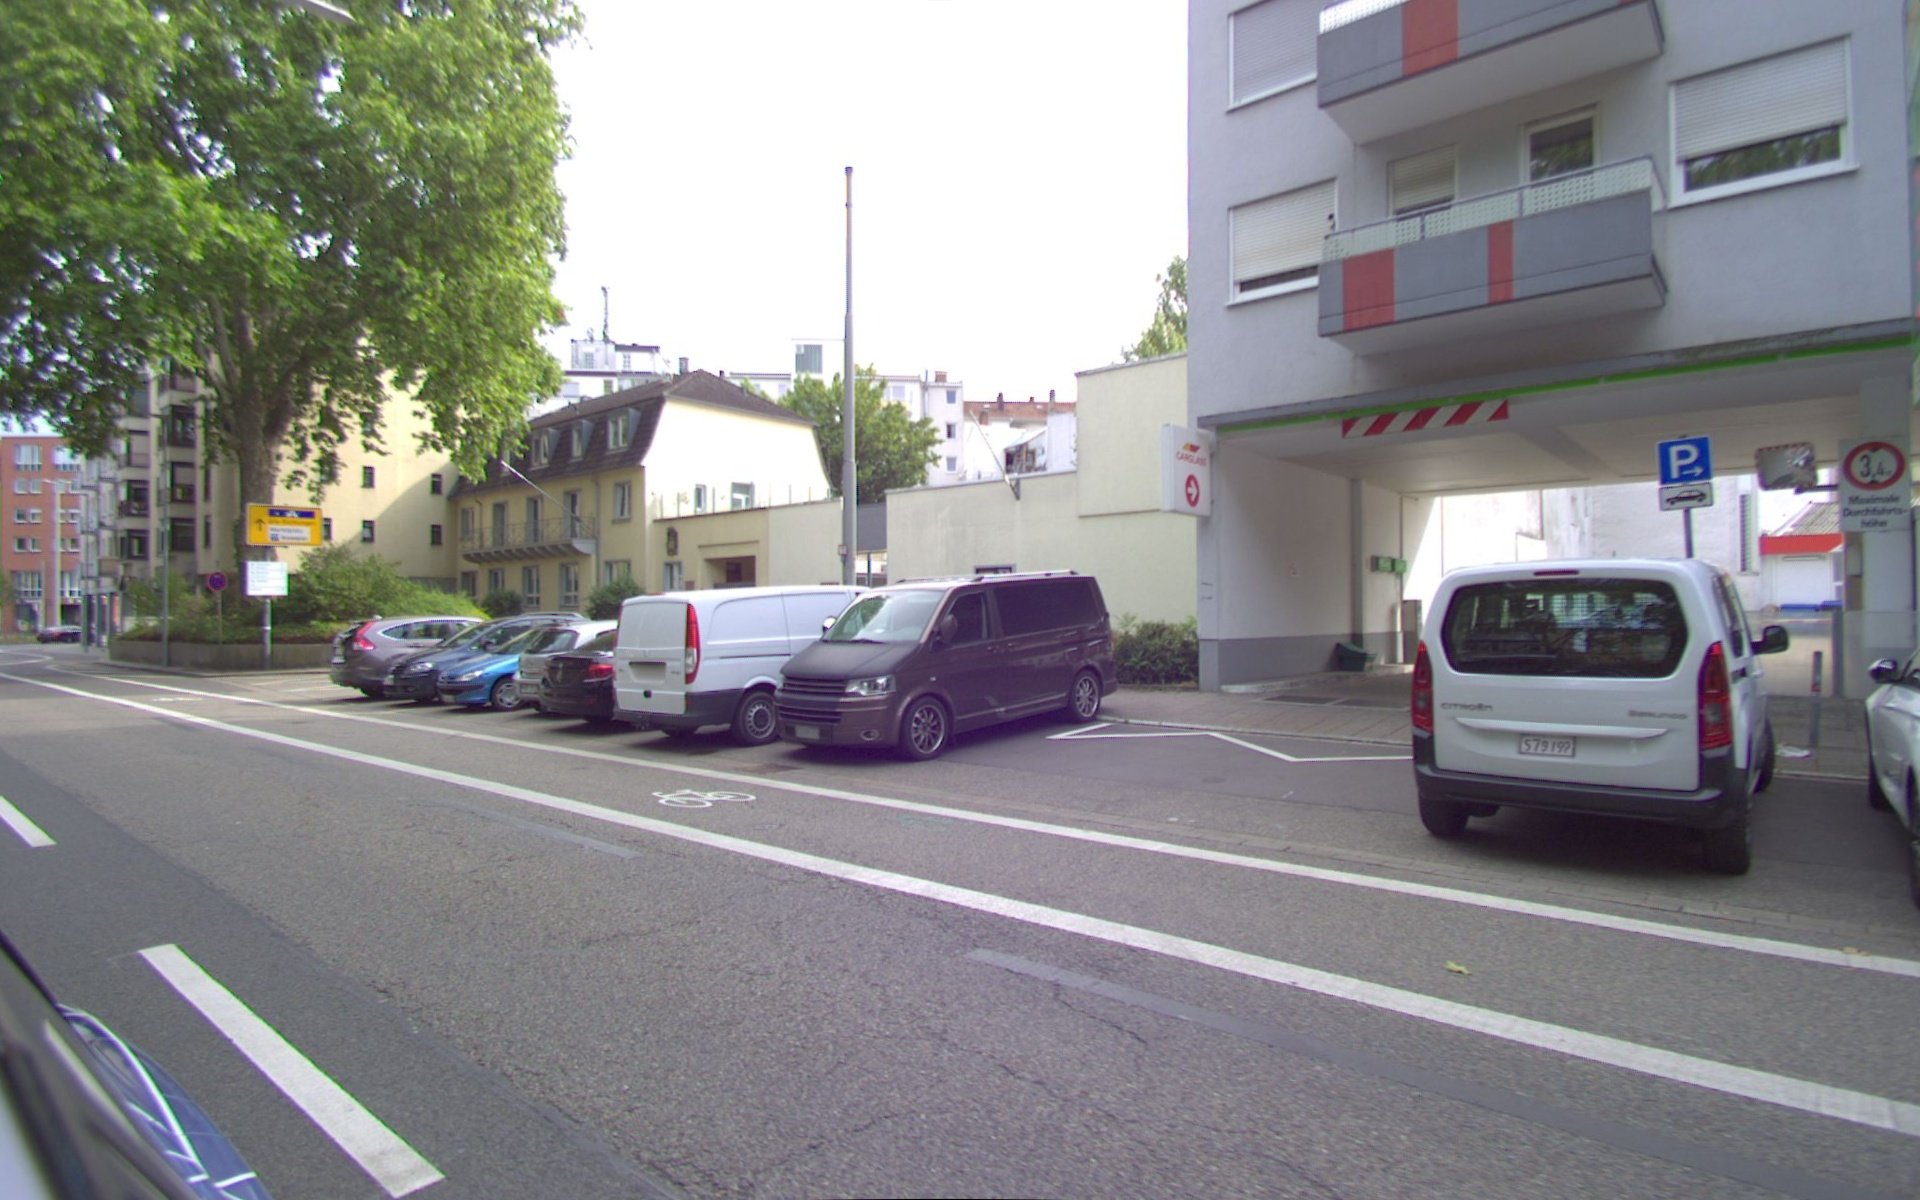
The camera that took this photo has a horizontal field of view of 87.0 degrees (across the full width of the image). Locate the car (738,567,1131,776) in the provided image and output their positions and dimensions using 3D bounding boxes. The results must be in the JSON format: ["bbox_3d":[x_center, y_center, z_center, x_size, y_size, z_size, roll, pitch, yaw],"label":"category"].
[{"bbox_3d":[-0.089,0.652,12.138,1.993,1.948,4.717,-2,1,41],"label":"car"}]

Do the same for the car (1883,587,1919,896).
[{"bbox_3d":[6.227,0.693,5.315,1.873,1.462,4.227,-2,1,41],"label":"car"}]

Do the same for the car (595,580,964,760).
[{"bbox_3d":[-2.203,0.752,13.453,1.949,1.873,4.568,-2,1,41],"label":"car"}]

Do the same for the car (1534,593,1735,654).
[{"bbox_3d":[18.288,0.644,27.551,4.364,1.533,1.820,-2,-1,41],"label":"car"}]

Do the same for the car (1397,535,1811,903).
[{"bbox_3d":[4.860,0.556,7.330,1.923,1.862,4.168,-2,1,41],"label":"car"}]

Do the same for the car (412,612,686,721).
[{"bbox_3d":[-7.251,1.094,18.202,1.718,1.522,4.221,-2,1,41],"label":"car"}]

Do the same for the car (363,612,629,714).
[{"bbox_3d":[-8.833,1.120,19.572,1.732,1.560,4.316,-2,1,41],"label":"car"}]

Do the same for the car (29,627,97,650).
[{"bbox_3d":[-69.468,2.950,78.441,1.940,1.683,4.562,-1,-1,-12],"label":"car"}]

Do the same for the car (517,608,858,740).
[{"bbox_3d":[-3.908,0.970,15.203,1.873,1.481,4.656,-2,1,41],"label":"car"}]

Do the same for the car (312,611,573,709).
[{"bbox_3d":[-10.639,1.150,21.071,1.753,1.618,4.471,-2,1,41],"label":"car"}]

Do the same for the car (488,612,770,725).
[{"bbox_3d":[-5.397,1.039,16.900,1.718,1.462,4.149,-2,1,41],"label":"car"}]
